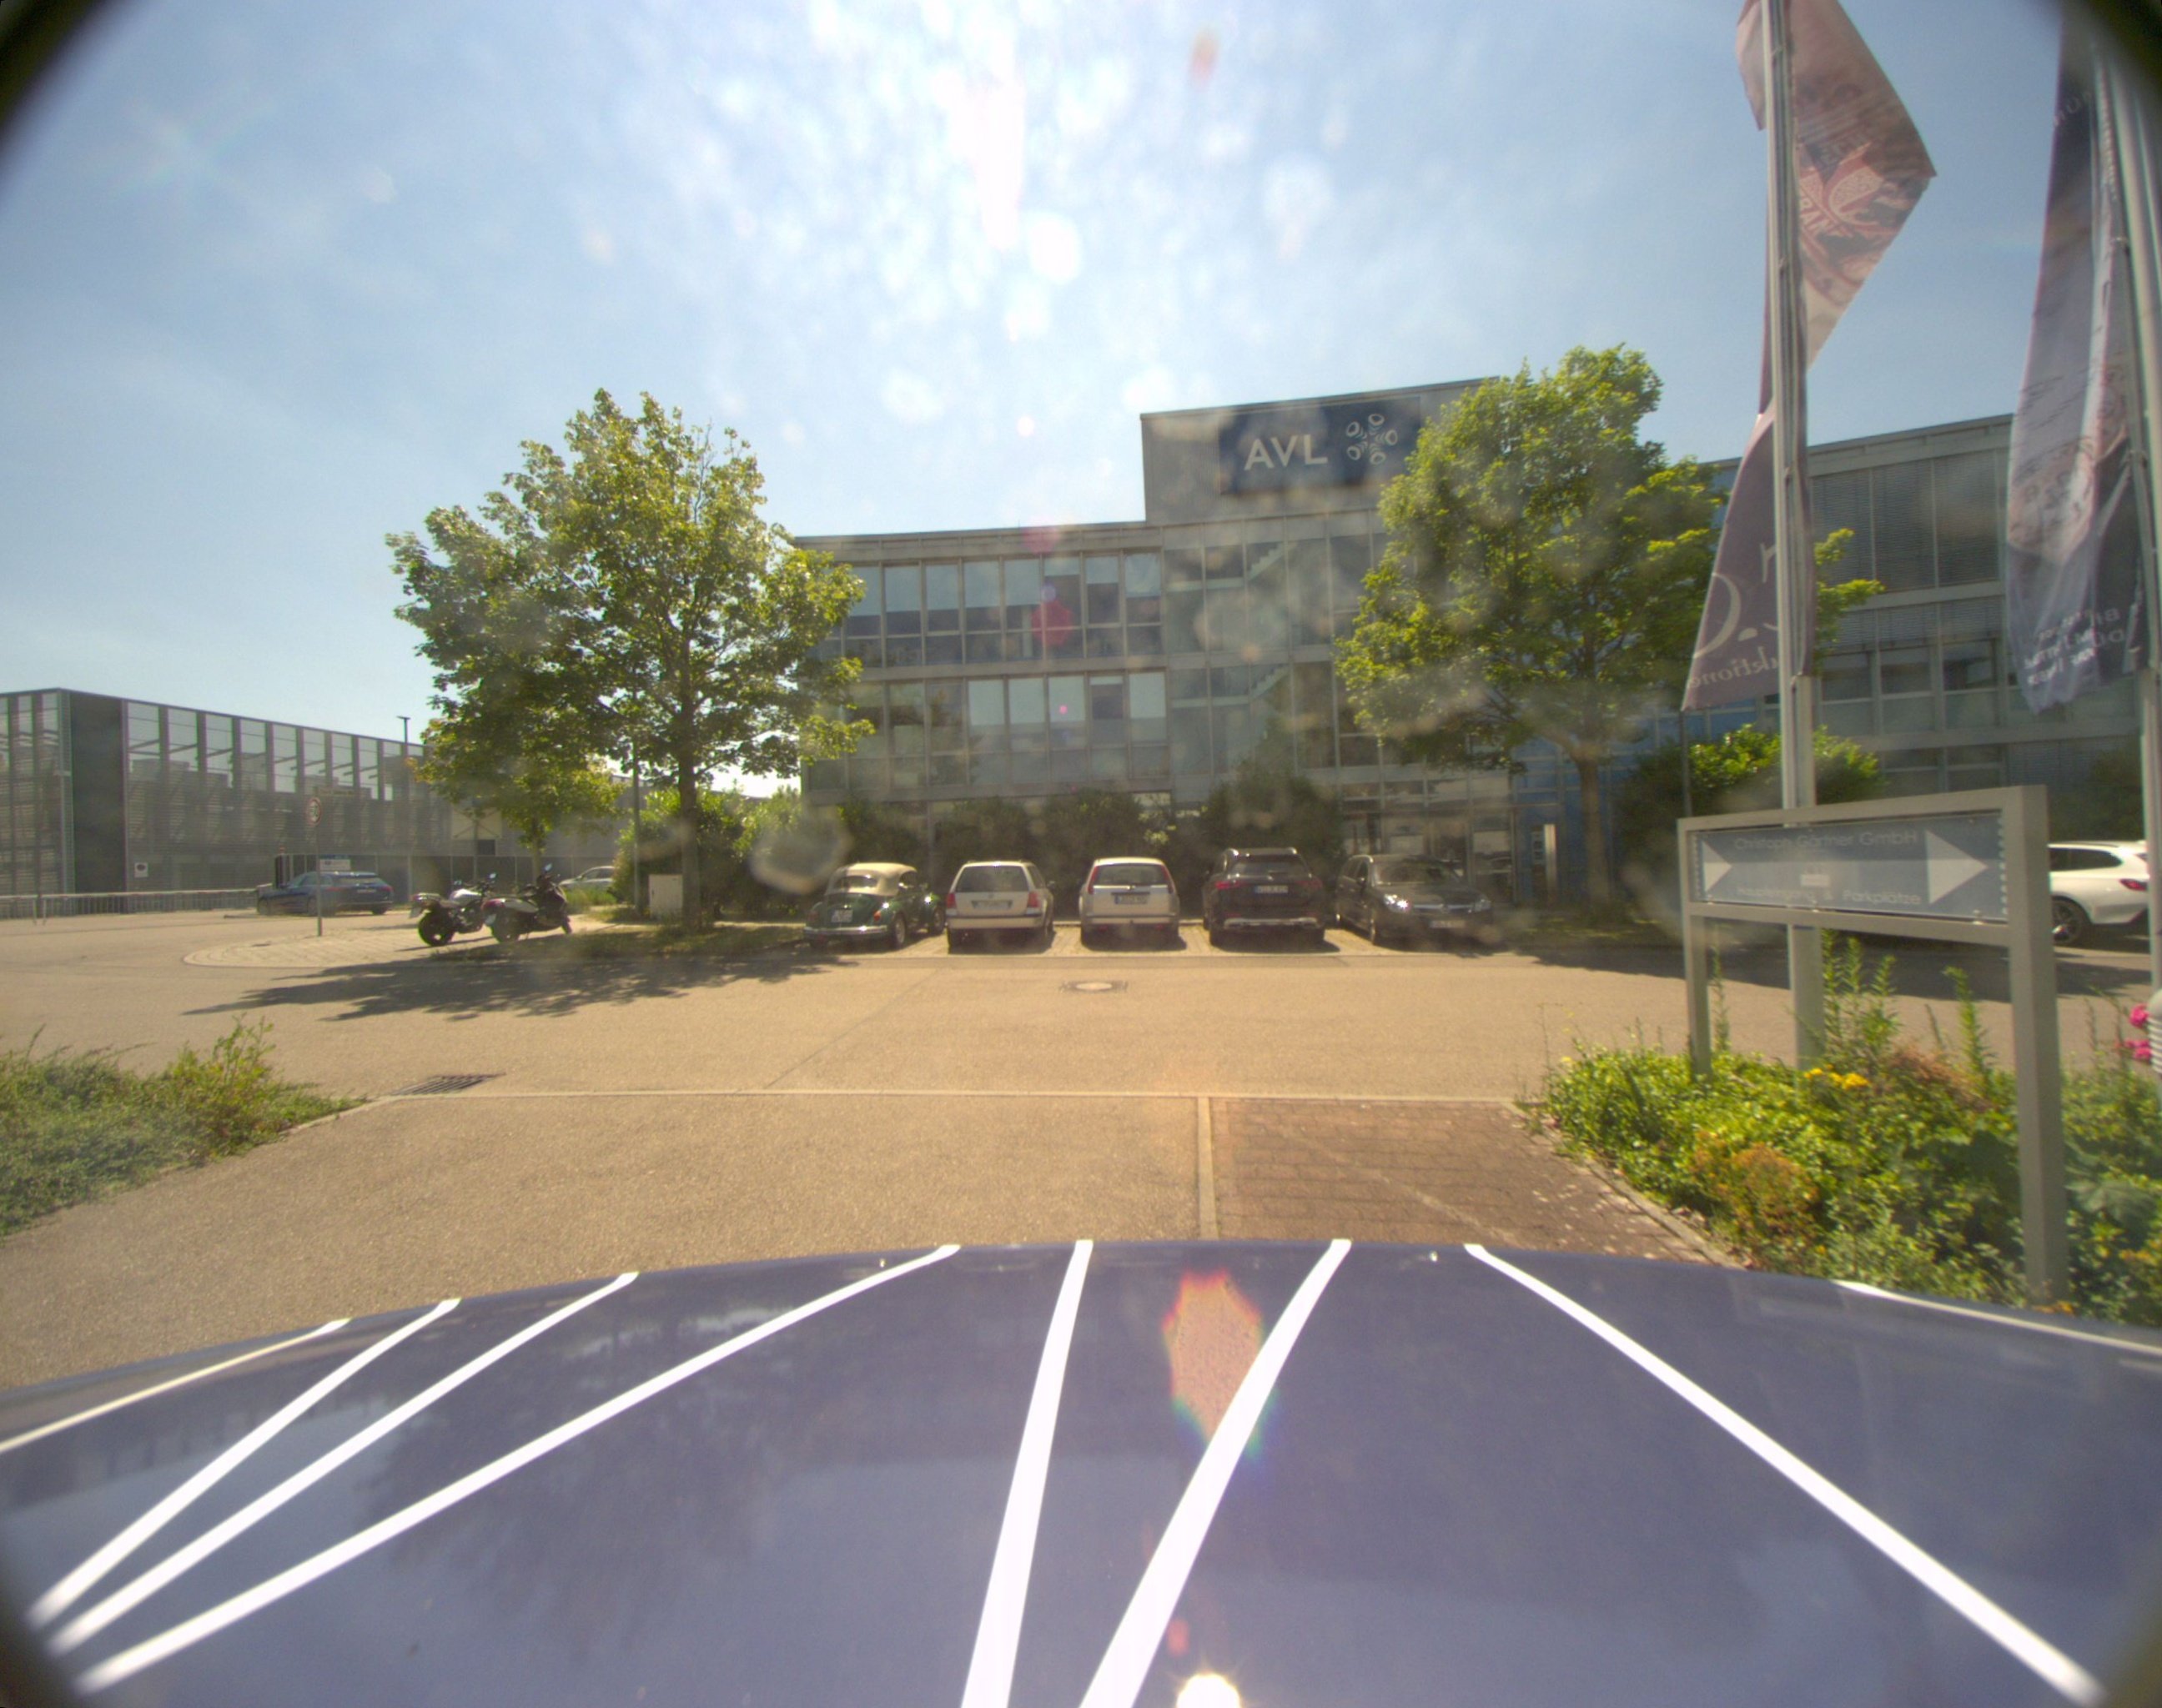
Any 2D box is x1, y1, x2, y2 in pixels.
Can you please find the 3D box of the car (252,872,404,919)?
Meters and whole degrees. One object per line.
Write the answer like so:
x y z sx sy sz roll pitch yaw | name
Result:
-25.028 1.372 25.252 4.436 1.401 1.862 -1 0 21 | car

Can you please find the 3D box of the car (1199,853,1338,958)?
3.227 0.805 13.803 1.937 1.593 3.861 -1 1 6 | car

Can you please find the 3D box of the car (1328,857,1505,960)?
5.753 0.840 13.625 1.729 1.475 4.399 -1 0 8 | car

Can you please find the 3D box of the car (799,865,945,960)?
-3.697 0.975 14.019 1.521 1.437 3.420 0 1 4 | car

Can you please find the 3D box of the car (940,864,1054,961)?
-1.404 0.962 13.915 1.642 1.444 3.600 0 1 1 | car

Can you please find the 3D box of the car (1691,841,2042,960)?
12.495 0.644 12.567 1.831 1.628 4.173 -1 0 7 | car

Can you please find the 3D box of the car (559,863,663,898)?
-21.285 1.211 34.425 4.404 1.467 1.783 -1 0 24 | car

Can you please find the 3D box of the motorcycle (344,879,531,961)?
-11.976 1.176 14.336 0.873 1.252 2.836 -1 1 6 | motorcycle

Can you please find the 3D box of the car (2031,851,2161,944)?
17.420 0.676 11.313 1.750 1.392 4.174 -1 0 9 | car

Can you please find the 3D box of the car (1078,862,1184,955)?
0.842 0.915 14.263 1.731 1.444 3.600 -1 1 1 | car

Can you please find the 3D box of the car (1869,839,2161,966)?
15.030 0.602 11.731 1.831 1.628 4.174 -1 0 9 | car

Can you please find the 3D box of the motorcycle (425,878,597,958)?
-10.632 1.139 14.380 0.873 1.252 2.836 -1 1 6 | motorcycle
